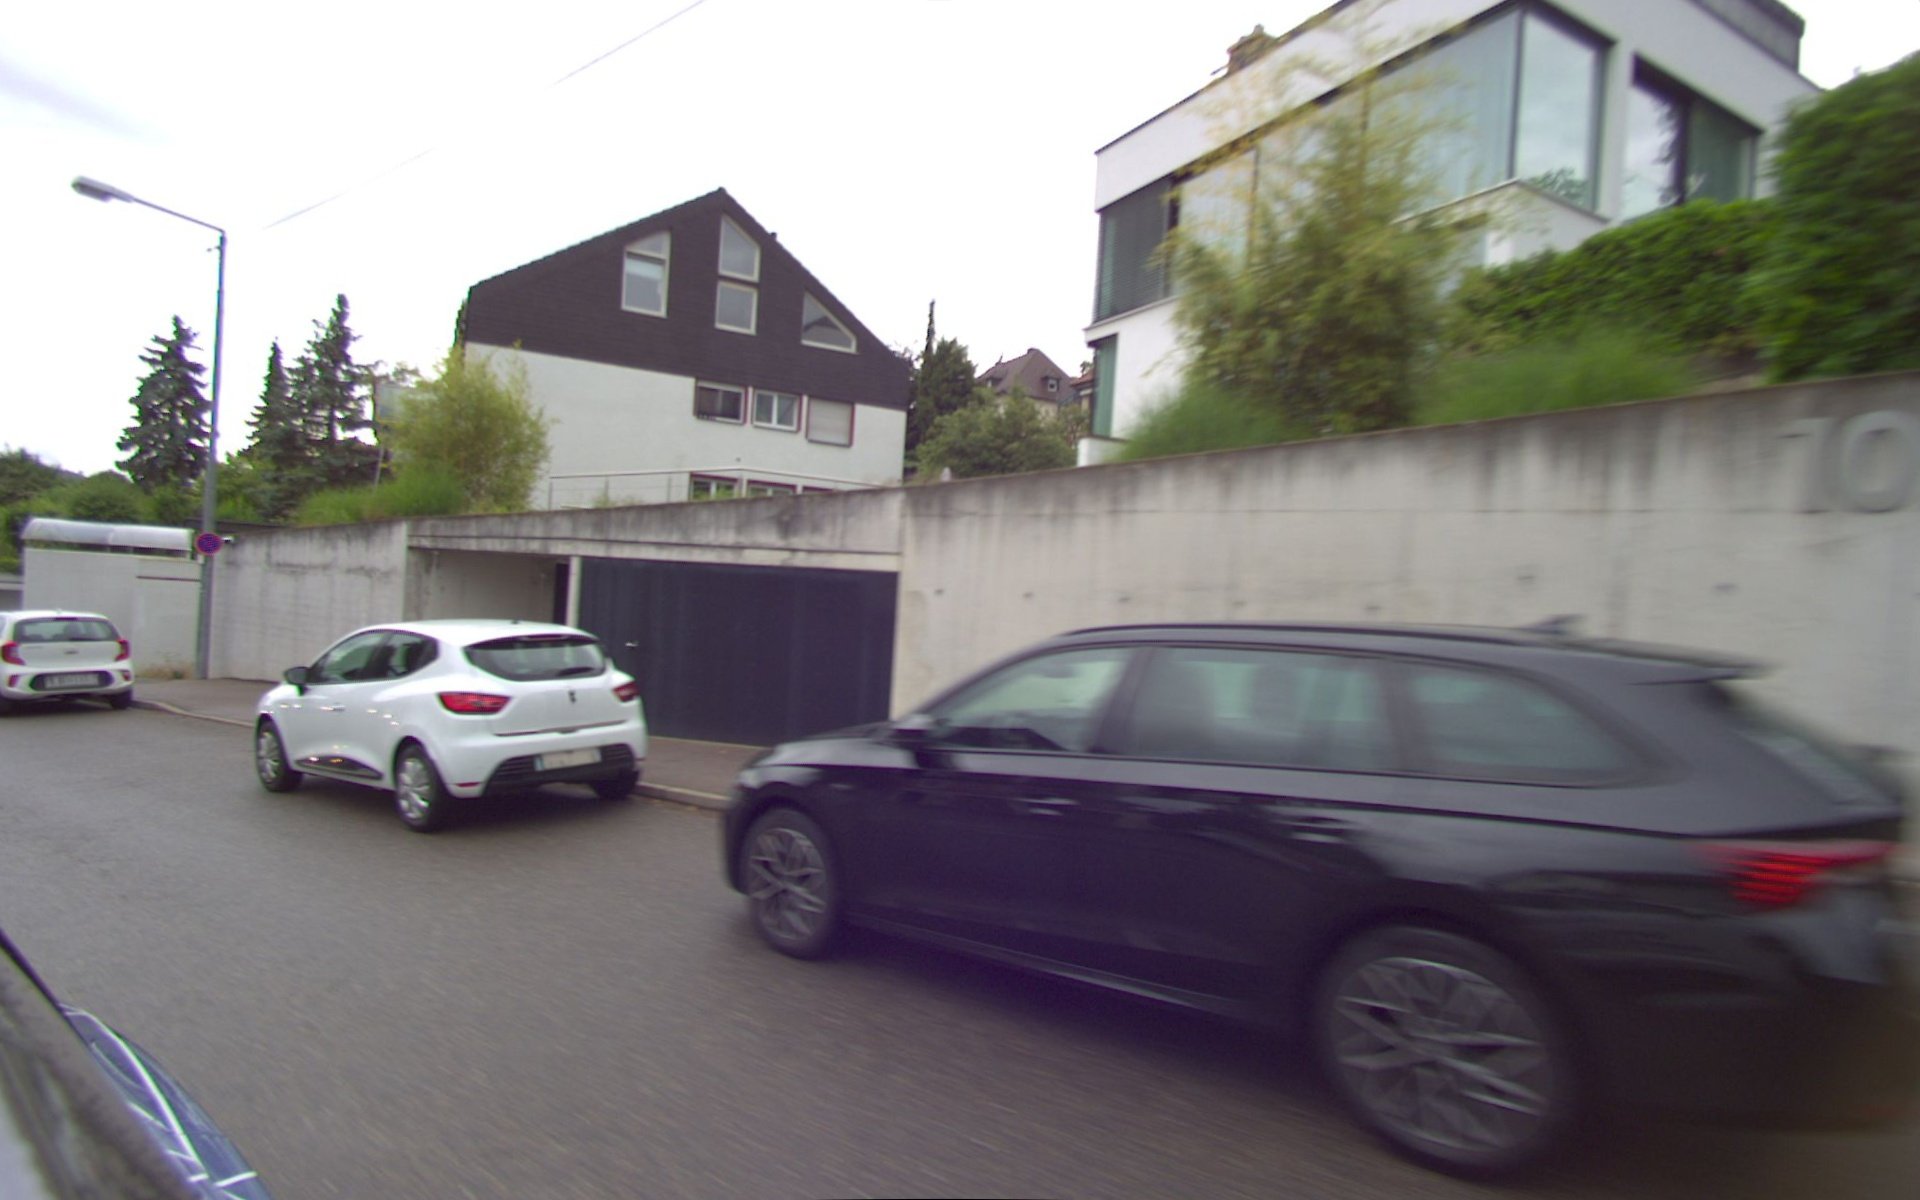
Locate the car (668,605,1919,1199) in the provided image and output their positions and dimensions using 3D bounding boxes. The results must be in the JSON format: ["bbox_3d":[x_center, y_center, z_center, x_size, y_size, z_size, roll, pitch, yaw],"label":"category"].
[{"bbox_3d":[0.937,0.789,3.965,4.679,1.470,1.695,-1,-2,40],"label":"car"}]

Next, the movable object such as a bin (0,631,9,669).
[{"bbox_3d":[-24.630,1.268,25.731,0.535,0.970,0.648,0,-1,-30],"label":"movable object such as a bin"}]

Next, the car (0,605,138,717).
[{"bbox_3d":[-14.254,0.876,15.441,3.822,1.527,1.613,-1,-2,34],"label":"car"}]

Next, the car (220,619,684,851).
[{"bbox_3d":[-4.283,0.891,8.309,4.033,1.451,1.815,-1,-2,37],"label":"car"}]
